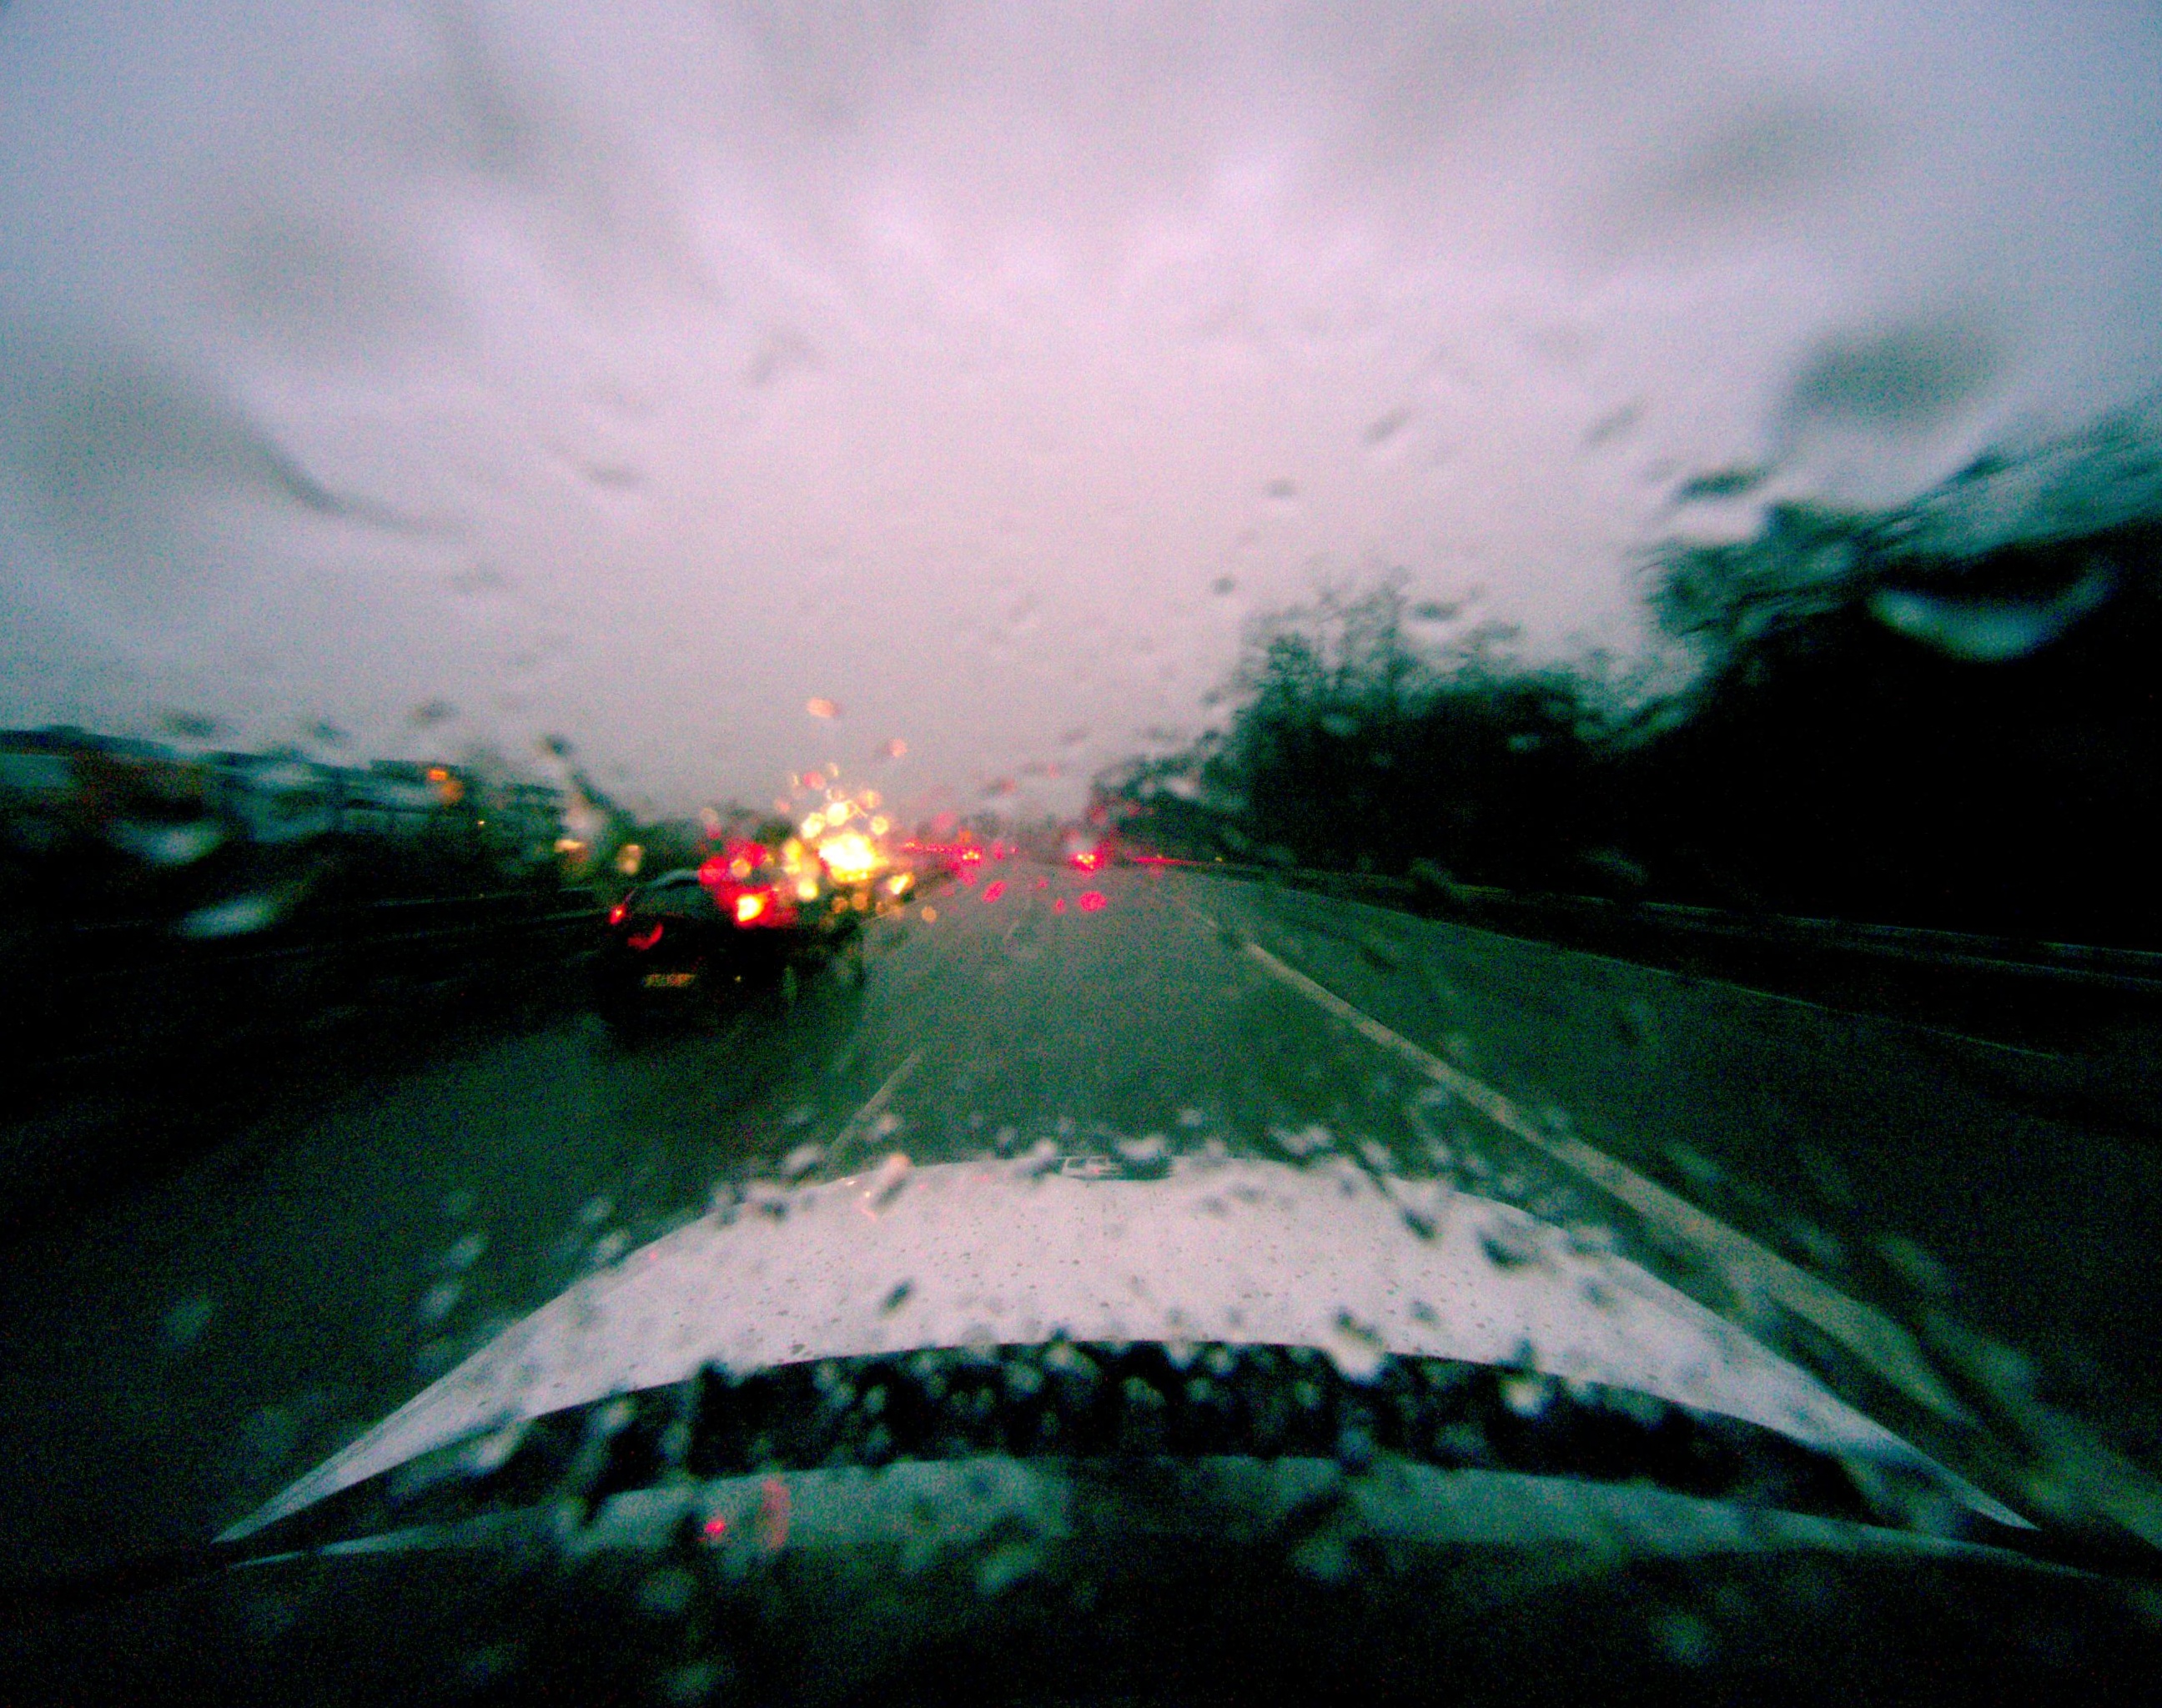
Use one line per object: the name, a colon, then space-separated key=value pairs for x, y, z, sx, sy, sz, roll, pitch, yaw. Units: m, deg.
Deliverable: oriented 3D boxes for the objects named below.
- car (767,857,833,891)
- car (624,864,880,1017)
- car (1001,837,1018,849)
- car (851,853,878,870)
car: x=-15.177 y=1.026 z=44.287 sx=1.787 sy=1.683 sz=4.690 roll=-2 pitch=0 yaw=2
car: x=-3.510 y=0.842 z=9.508 sx=1.623 sy=1.392 sz=3.992 roll=1 pitch=-1 yaw=-5
car: x=-8.038 y=-1.225 z=91.997 sx=1.409 sy=1.317 sz=3.087 roll=1 pitch=0 yaw=5
car: x=-23.150 y=0.793 z=87.248 sx=1.990 sy=1.672 sz=4.421 roll=-1 pitch=1 yaw=-5
